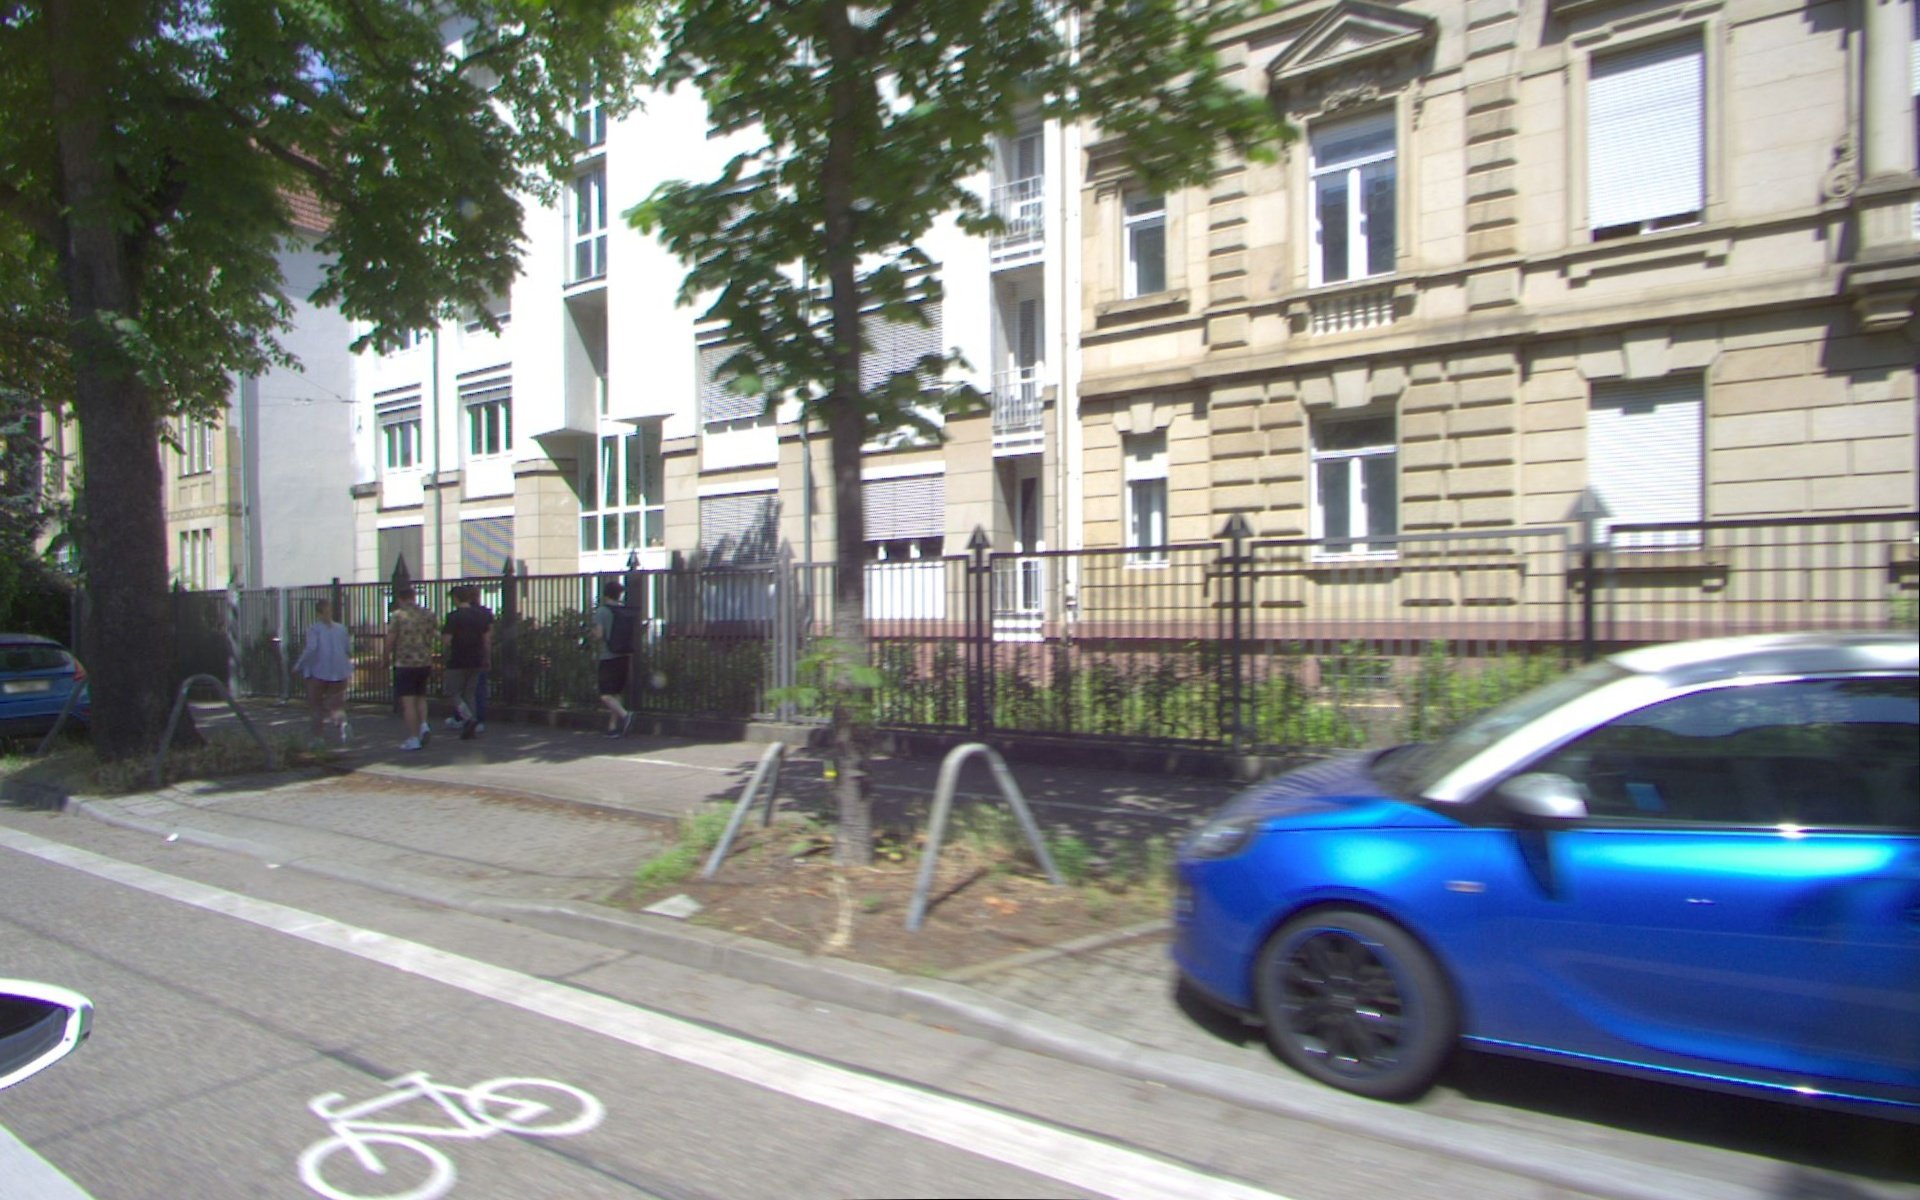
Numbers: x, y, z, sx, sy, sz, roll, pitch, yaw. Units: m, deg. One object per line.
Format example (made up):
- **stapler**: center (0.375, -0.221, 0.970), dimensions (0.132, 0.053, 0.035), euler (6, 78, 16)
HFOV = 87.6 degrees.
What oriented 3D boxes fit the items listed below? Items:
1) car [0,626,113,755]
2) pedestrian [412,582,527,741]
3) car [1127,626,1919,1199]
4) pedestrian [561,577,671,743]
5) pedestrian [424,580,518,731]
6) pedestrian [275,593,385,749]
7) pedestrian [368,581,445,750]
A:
- **car**: center (-12.745, 1.109, 12.908), dimensions (3.666, 1.463, 1.674), euler (-1, 1, 31)
- **pedestrian**: center (-5.773, 0.697, 11.792), dimensions (1.037, 1.785, 0.786), euler (0, 0, 32)
- **car**: center (2.495, 0.840, 3.461), dimensions (3.423, 1.472, 1.688), euler (-1, -1, 31)
- **pedestrian**: center (-3.981, 0.669, 11.594), dimensions (1.068, 1.821, 0.683), euler (0, 0, 32)
- **pedestrian**: center (-6.182, 0.682, 12.664), dimensions (0.963, 1.835, 0.659), euler (0, 0, 32)
- **pedestrian**: center (-7.119, 0.767, 11.319), dimensions (0.962, 1.673, 0.763), euler (0, 0, 38)
- **pedestrian**: center (-6.177, 0.702, 11.214), dimensions (0.696, 1.800, 0.943), euler (0, 0, -27)
